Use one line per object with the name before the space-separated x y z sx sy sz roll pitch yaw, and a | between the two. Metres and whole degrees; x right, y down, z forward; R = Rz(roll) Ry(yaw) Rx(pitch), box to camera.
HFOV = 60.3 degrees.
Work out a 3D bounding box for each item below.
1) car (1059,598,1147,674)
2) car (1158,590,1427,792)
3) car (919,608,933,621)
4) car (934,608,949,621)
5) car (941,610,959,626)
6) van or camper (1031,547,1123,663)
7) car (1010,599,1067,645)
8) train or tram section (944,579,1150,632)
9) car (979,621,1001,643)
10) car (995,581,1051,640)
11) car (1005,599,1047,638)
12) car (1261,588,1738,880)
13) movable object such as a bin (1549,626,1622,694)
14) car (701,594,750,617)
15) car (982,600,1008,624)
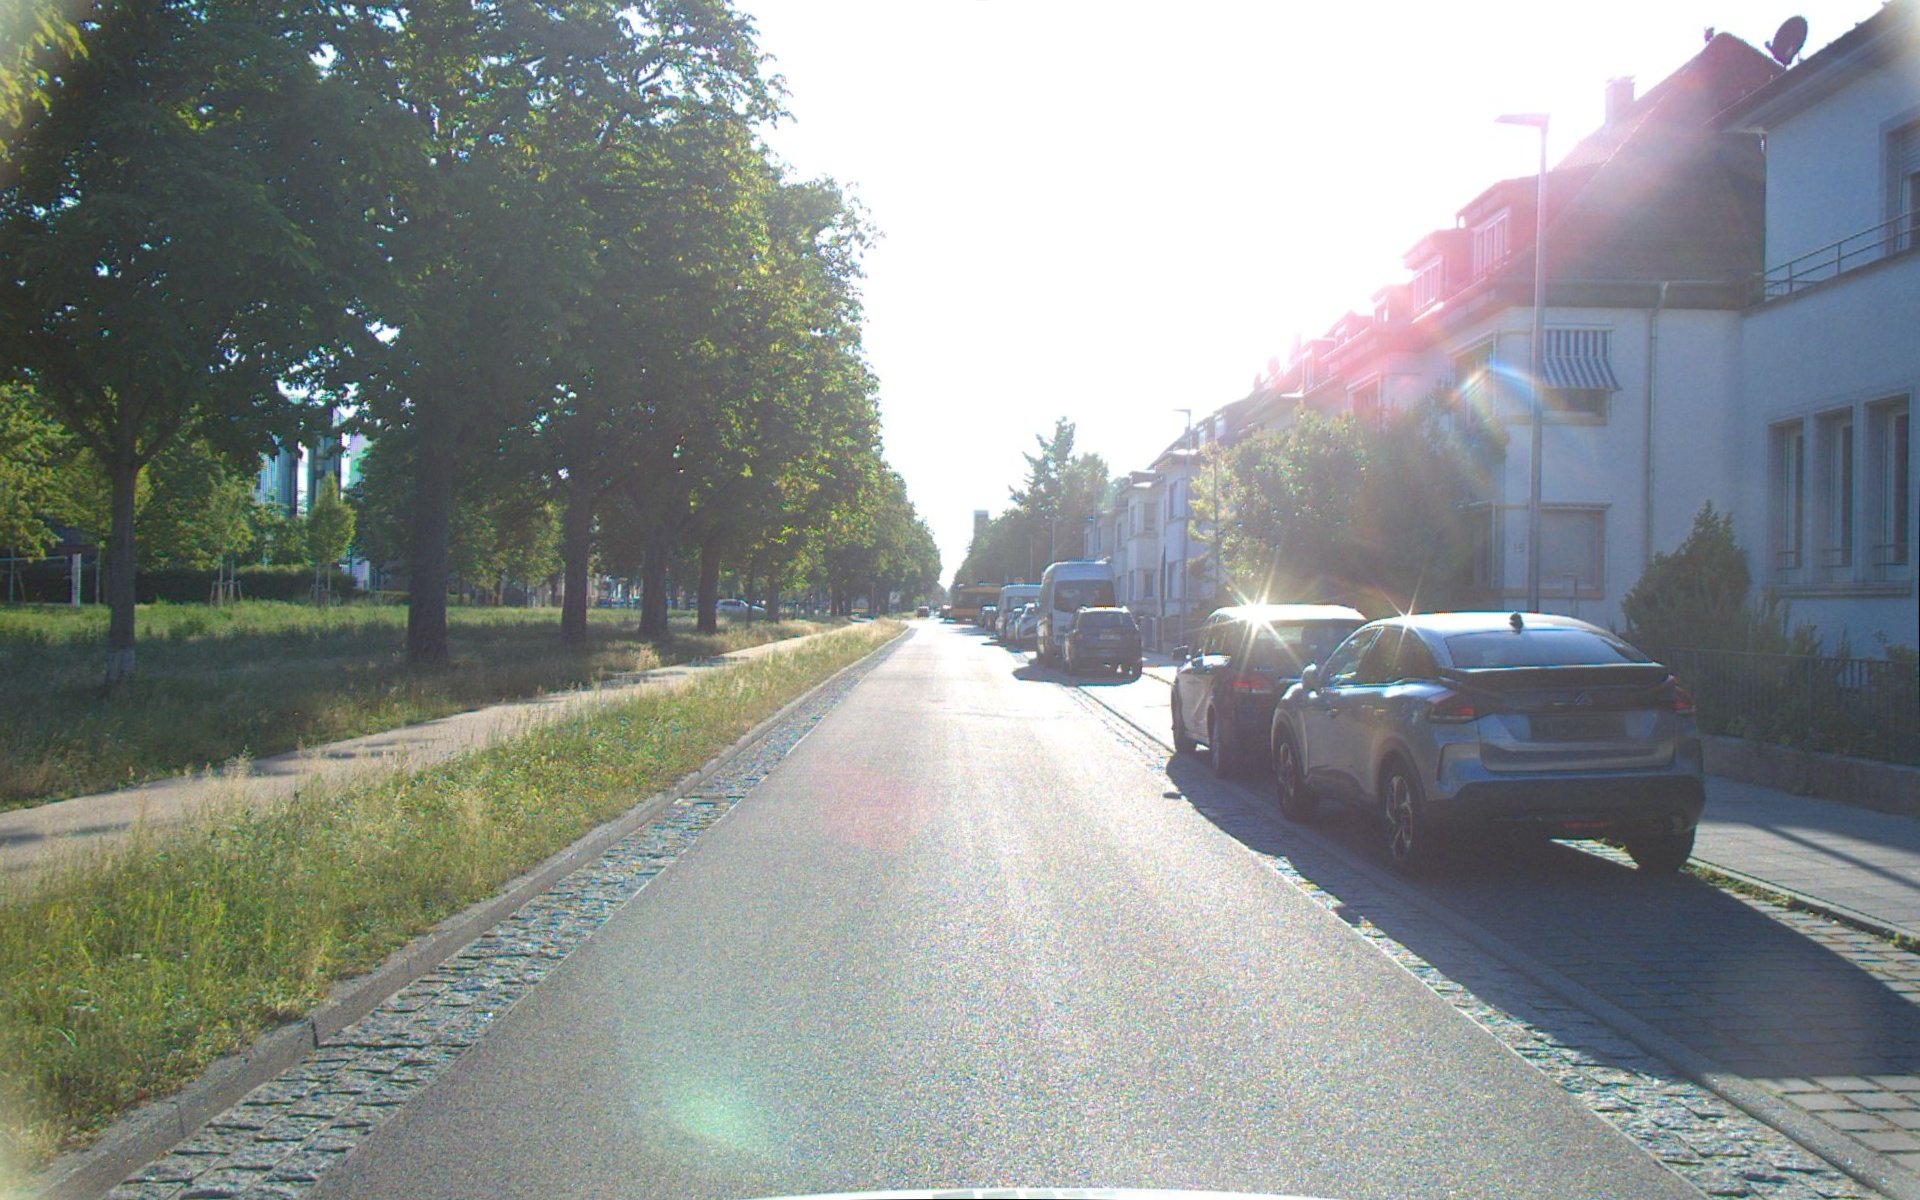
car | 3.231 0.806 37.932 1.630 1.621 4.085 -1 -1 0
car | 3.272 0.826 17.153 1.795 1.714 4.414 3 0 0
car | -4.741 1.999 230.489 1.825 1.625 3.868 3 -1 -1
car | -2.368 1.854 212.446 1.825 1.625 3.868 3 -1 -1
car | -1.090 2.022 180.565 1.825 1.625 3.892 3 -1 -1
van or camper | 3.059 0.198 44.360 1.904 2.826 5.938 3 -1 0
car | 2.962 0.818 63.101 1.800 1.664 4.129 1 -1 -2
train or tram section | 8.302 0.554 159.331 19.398 4.025 3.639 3 -1 -5
car | 2.248 2.358 123.422 1.616 1.557 3.851 1 -1 1
car | 2.796 0.470 74.668 2.084 2.577 5.186 1 -1 -2
car | 2.699 0.752 68.051 1.616 1.557 3.851 1 -1 1
car | 3.389 0.774 11.308 1.684 1.601 4.207 0 -1 -3
movable object such as a bin | 10.979 1.047 29.049 0.964 1.119 0.789 3 -1 3
car | -20.851 0.514 147.139 4.266 1.795 1.996 3 -1 -9
car | 2.237 0.775 106.325 1.616 1.557 3.851 1 -1 1
